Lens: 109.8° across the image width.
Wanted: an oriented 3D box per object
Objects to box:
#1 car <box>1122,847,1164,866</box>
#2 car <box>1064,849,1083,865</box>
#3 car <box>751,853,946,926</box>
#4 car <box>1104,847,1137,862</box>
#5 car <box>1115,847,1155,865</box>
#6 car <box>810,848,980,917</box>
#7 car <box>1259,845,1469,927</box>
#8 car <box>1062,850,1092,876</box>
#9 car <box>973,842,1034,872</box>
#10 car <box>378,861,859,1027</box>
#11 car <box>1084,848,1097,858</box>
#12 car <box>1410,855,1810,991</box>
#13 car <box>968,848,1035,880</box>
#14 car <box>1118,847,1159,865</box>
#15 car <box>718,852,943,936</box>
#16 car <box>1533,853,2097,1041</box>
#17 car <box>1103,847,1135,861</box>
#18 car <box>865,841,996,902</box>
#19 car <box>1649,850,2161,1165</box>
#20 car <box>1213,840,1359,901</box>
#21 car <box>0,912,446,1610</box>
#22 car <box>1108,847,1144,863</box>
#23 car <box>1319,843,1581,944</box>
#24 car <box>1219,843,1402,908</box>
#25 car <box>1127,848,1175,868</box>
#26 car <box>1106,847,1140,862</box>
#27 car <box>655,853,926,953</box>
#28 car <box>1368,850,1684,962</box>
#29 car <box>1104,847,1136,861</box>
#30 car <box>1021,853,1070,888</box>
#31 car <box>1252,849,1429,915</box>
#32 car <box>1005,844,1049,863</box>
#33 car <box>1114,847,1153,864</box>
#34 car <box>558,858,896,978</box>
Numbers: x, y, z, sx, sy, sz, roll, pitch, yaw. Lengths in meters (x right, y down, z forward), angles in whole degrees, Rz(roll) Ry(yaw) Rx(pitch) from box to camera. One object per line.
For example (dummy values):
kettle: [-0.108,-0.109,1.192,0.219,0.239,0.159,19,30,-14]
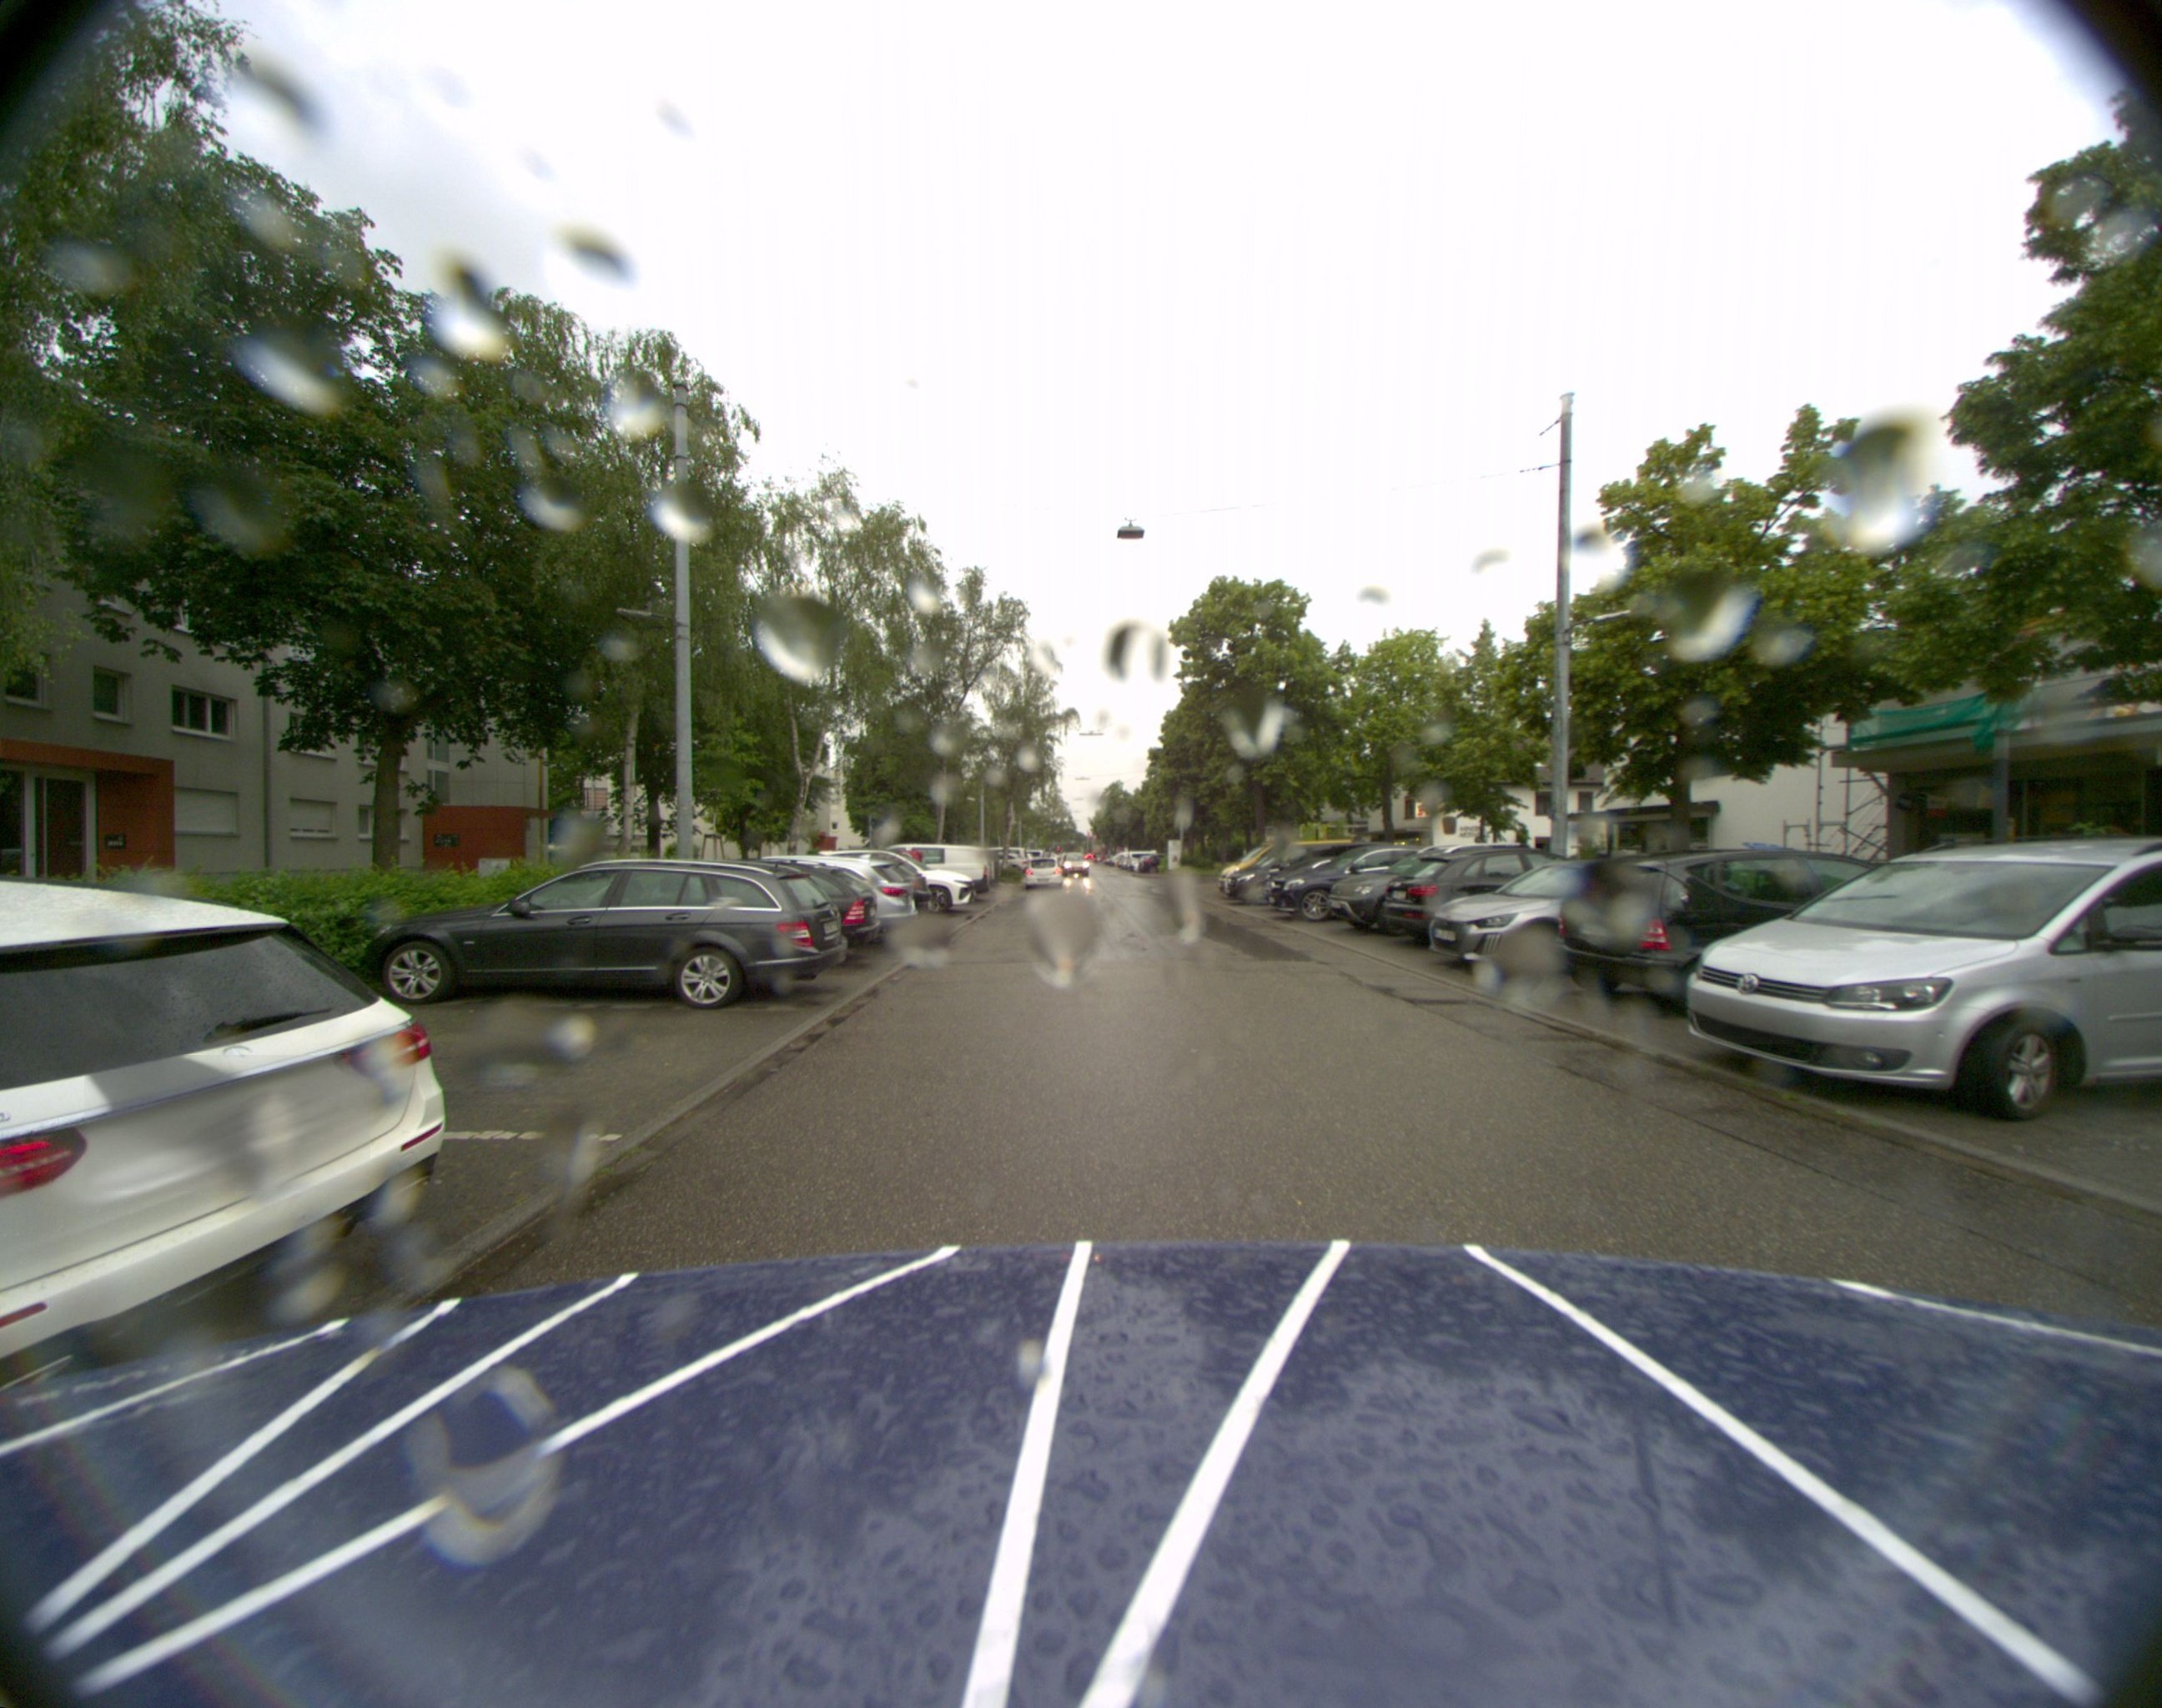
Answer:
car: [6.174,0.260,76.064,3.998,1.675,1.999,-2,1,-3]
car: [-0.724,0.295,74.262,1.733,1.519,4.138,0,1,-2]
car: [-5.335,0.802,17.848,4.049,1.488,1.680,2,1,-3]
car: [5.028,0.045,96.939,3.998,1.675,1.999,-2,1,-3]
car: [5.702,0.212,81.185,3.998,1.675,1.999,-2,1,-3]
car: [-5.022,0.734,20.899,4.179,1.609,1.680,3,1,1]
car: [6.579,0.704,17.942,4.283,1.717,1.715,-2,1,-2]
car: [-0.309,0.614,53.686,1.840,1.677,3.998,-2,1,-3]
car: [-5.518,0.205,54.207,3.995,1.902,1.902,-2,1,4]
car: [-4.650,0.885,8.123,4.049,1.431,1.680,2,1,-3]
car: [1.547,-0.189,125.266,1.999,1.617,3.999,-2,1,-1]
car: [6.978,0.858,10.312,4.283,1.523,1.715,-2,1,-2]
car: [-5.111,0.651,49.327,3.995,1.902,1.902,-2,1,4]
car: [5.917,0.237,78.605,3.998,1.675,1.999,-2,1,-3]
car: [-5.016,0.784,15.645,4.049,1.488,1.680,2,1,-3]
car: [7.249,0.844,7.778,4.283,1.556,1.635,-2,1,-2]
car: [4.971,0.018,99.172,3.998,1.675,1.999,-2,1,-3]
car: [-5.099,0.572,26.185,4.182,1.856,1.679,3,1,-6]
car: [6.635,0.859,5.191,4.283,1.625,1.715,-2,1,-2]
car: [7.186,0.541,26.908,4.657,1.947,1.715,-2,1,-2]
car: [-4.748,0.923,2.060,4.623,1.431,1.680,2,1,0]
car: [5.336,0.118,90.311,3.998,1.675,1.999,-2,1,-3]
car: [7.081,0.717,14.849,4.283,1.717,1.715,-2,1,-2]
car: [7.115,0.631,23.856,5.177,1.789,1.715,-2,1,-2]
car: [6.321,0.350,68.642,3.998,1.675,1.999,-2,1,-3]
car: [5.219,0.070,94.418,3.998,1.675,1.999,-2,1,-3]
car: [-4.890,0.810,13.240,4.049,1.488,1.680,2,1,-3]
car: [7.266,0.803,12.680,4.283,1.586,1.715,-2,1,-2]
car: [5.204,-0.028,101.614,3.998,1.675,1.999,-2,1,-3]
car: [-1.626,0.734,36.250,1.998,1.446,4.257,-2,1,1]
car: [7.123,0.726,21.091,4.283,1.617,1.715,-2,1,-2]
car: [-5.281,-0.031,75.034,3.995,1.670,1.902,-2,1,4]
car: [5.786,0.186,83.755,3.998,1.675,1.999,-2,1,-3]
car: [-4.894,0.865,10.945,4.049,1.431,1.680,2,1,-3]
